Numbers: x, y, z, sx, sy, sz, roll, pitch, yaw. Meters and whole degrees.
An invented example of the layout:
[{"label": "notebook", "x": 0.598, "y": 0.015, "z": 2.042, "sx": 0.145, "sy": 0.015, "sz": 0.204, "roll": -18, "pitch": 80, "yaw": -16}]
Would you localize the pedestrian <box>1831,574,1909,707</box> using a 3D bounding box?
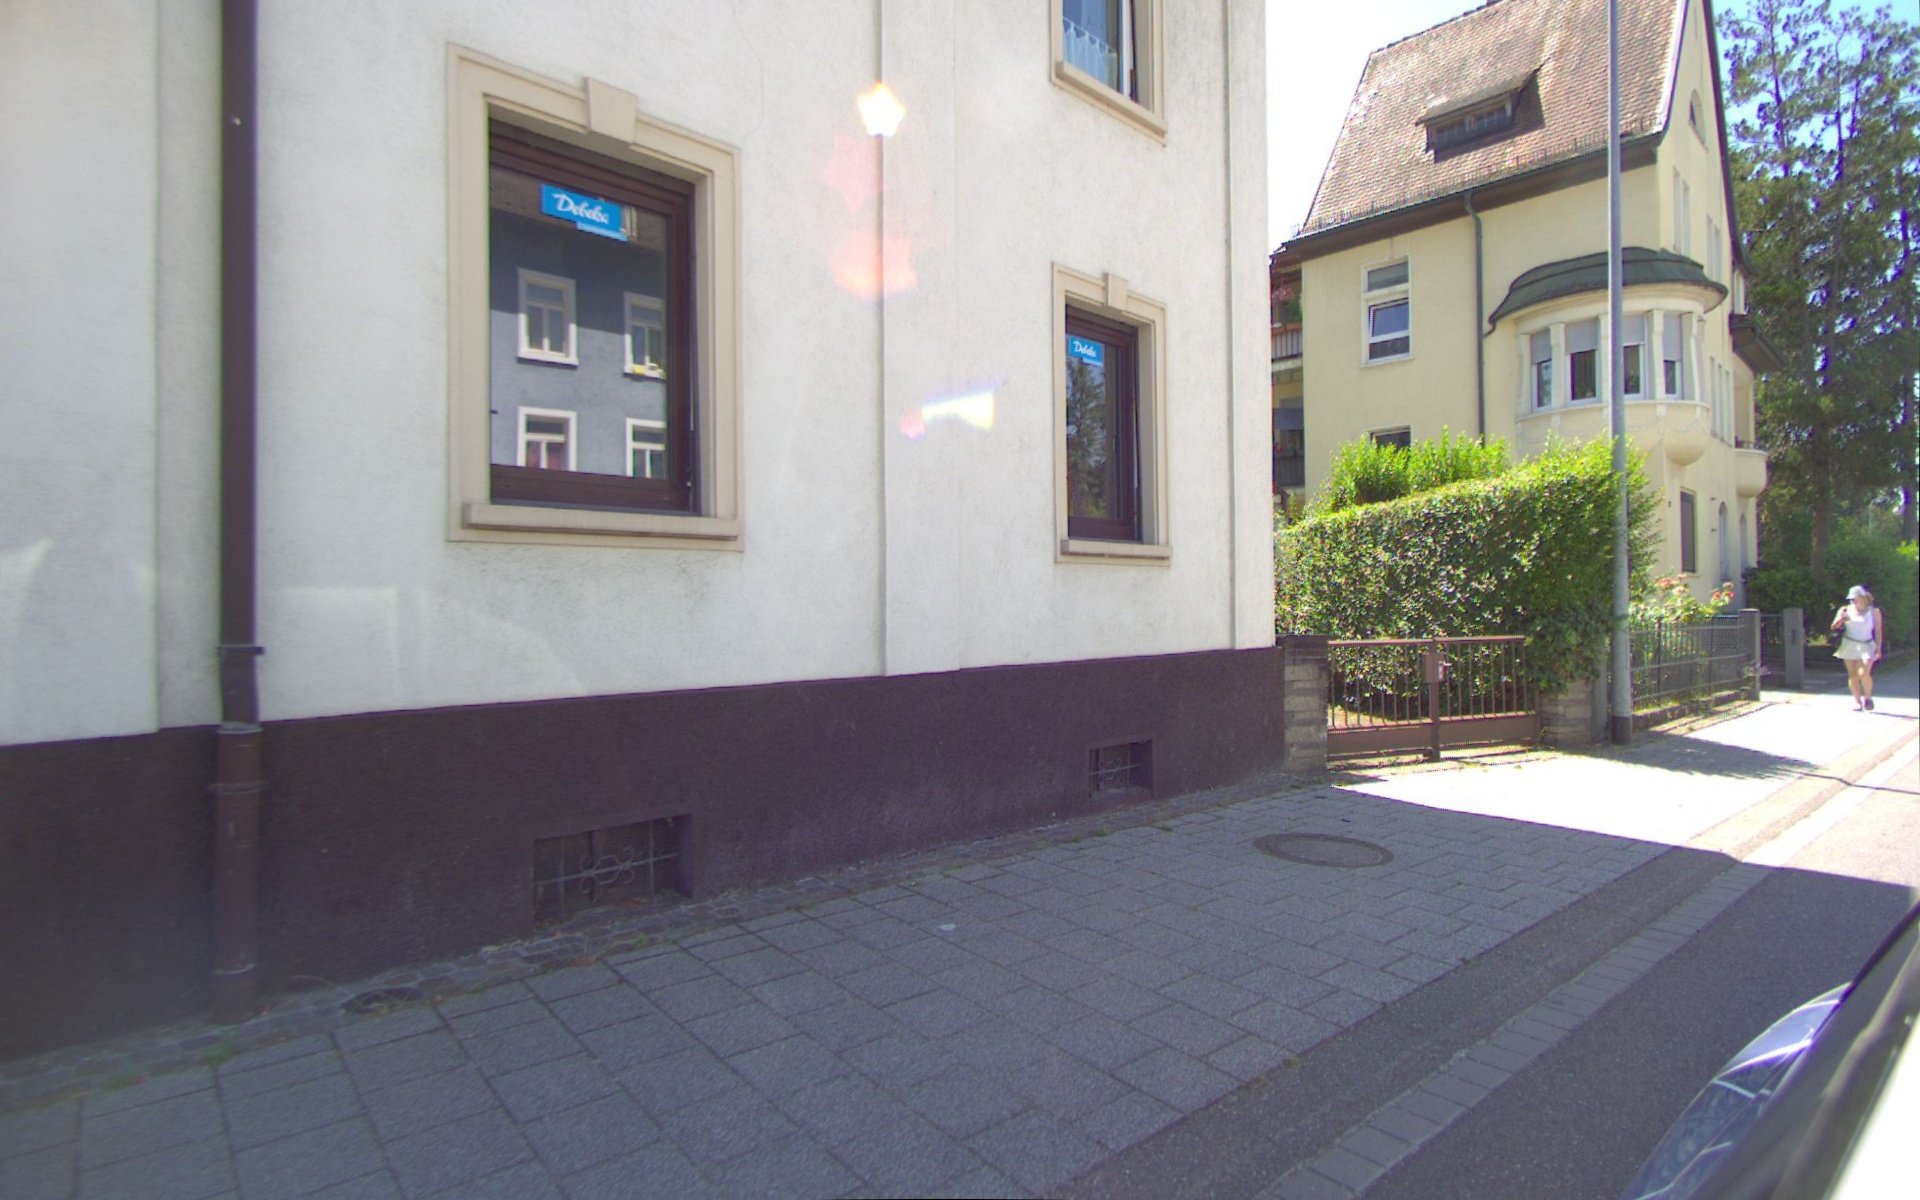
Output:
[{"label": "pedestrian", "x": 11.933, "y": 0.502, "z": 13.272, "sx": 0.759, "sy": 1.663, "sz": 0.624, "roll": -1, "pitch": 4, "yaw": -45}]
